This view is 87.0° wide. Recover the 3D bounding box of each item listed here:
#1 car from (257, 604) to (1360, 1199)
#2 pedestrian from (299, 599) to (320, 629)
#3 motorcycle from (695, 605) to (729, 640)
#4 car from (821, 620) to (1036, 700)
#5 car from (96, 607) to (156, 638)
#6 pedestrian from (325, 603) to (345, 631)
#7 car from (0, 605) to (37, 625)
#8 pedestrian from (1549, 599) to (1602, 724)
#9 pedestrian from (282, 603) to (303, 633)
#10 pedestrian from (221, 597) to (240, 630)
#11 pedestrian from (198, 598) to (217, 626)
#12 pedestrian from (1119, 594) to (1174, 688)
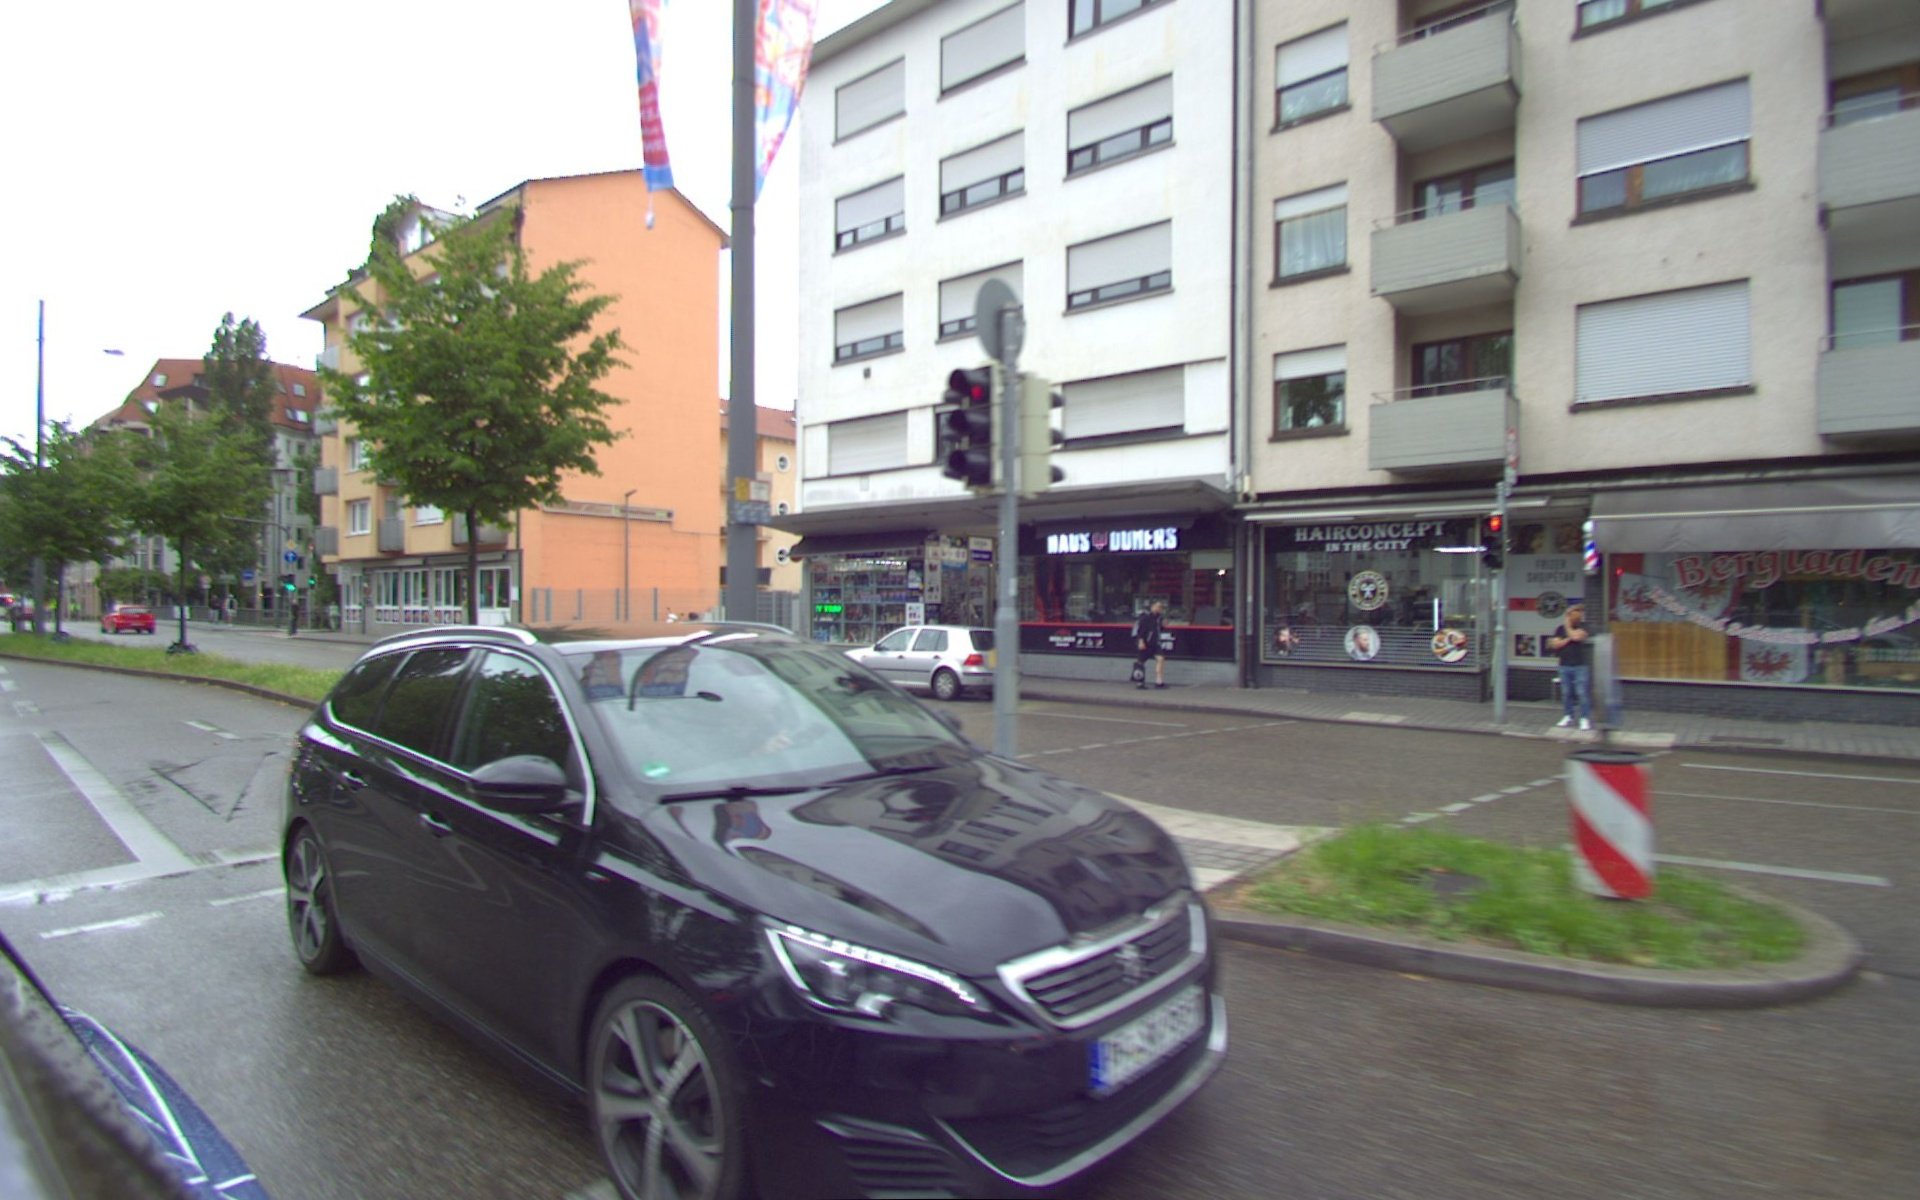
[{"bbox_3d":[-1.041,0.760,3.796,4.397,1.445,1.779,0,1,44],"label":"car"},{"bbox_3d":[-37.822,0.799,58.839,0.675,1.703,0.744,0,-1,9],"label":"pedestrian"},{"bbox_3d":[-10.999,1.004,44.926,0.397,1.473,1.448,0,-3,41],"label":"motorcycle"},{"bbox_3d":[-0.689,1.128,19.886,4.148,1.402,1.659,-1,-3,40],"label":"car"},{"bbox_3d":[-42.564,1.142,51.637,3.942,1.441,1.587,0,-3,39],"label":"car"},{"bbox_3d":[-36.420,0.991,58.954,0.737,1.661,0.682,0,-1,5],"label":"pedestrian"},{"bbox_3d":[-66.855,1.057,71.824,3.832,1.404,1.550,0,-2,41],"label":"car"},{"bbox_3d":[8.871,0.870,14.584,0.524,1.743,0.447,-2,2,44],"label":"pedestrian"},{"bbox_3d":[-33.438,0.880,50.686,0.605,1.451,0.557,-2,2,22],"label":"pedestrian"},{"bbox_3d":[-43.022,0.803,59.689,0.799,1.901,0.737,-1,-1,38],"label":"pedestrian"},{"bbox_3d":[-46.138,0.723,62.046,0.799,1.708,0.757,0,-1,38],"label":"pedestrian"},{"bbox_3d":[3.622,0.781,19.667,0.660,1.742,0.769,-2,2,43],"label":"pedestrian"}]
